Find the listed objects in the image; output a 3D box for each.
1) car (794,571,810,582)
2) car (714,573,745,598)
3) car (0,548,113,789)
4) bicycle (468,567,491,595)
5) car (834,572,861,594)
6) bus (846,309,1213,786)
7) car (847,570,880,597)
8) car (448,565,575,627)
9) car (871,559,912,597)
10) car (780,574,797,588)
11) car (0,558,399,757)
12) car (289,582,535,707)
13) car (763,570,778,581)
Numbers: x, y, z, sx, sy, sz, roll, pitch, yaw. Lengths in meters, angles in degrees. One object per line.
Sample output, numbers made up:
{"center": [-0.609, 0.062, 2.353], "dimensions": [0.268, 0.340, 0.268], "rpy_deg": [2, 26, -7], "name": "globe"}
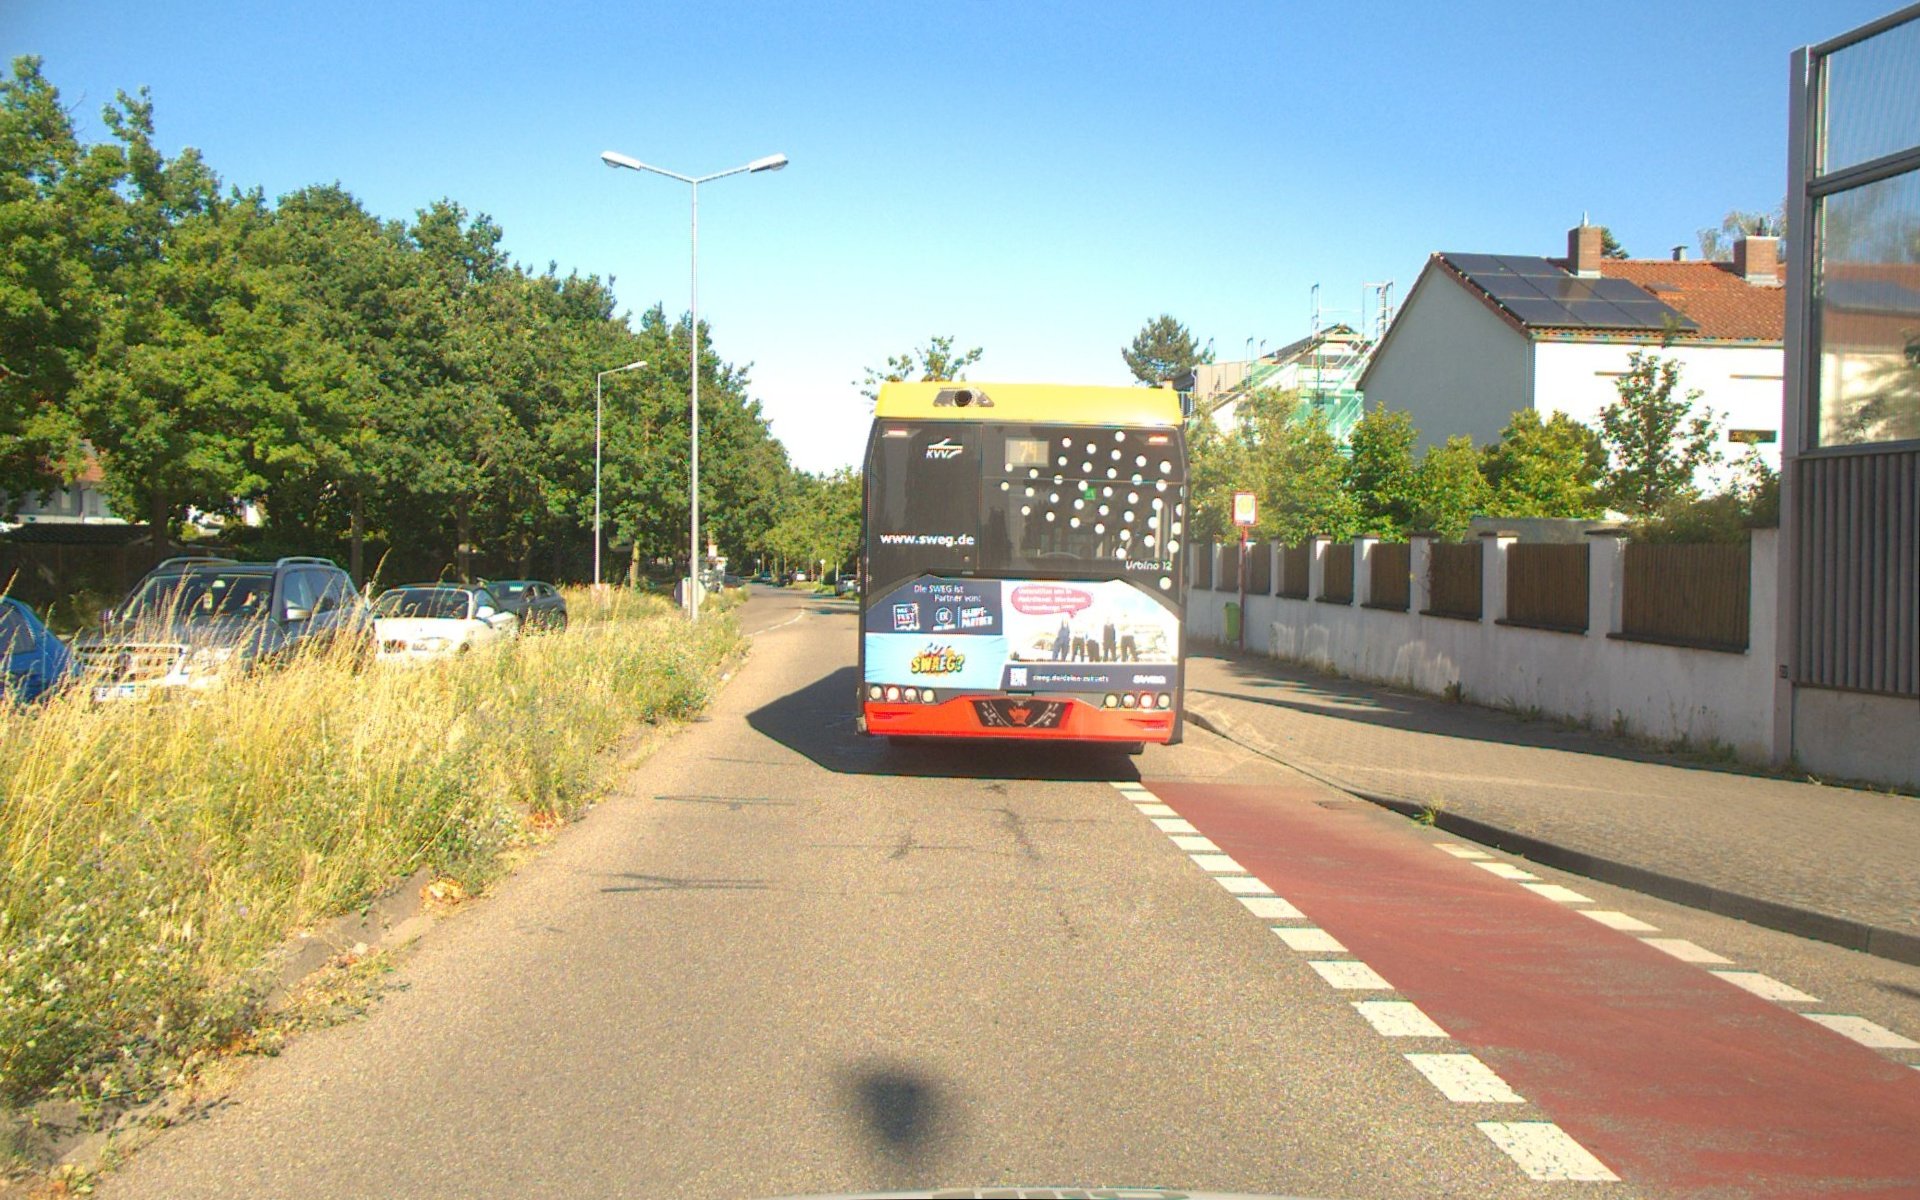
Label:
{"center": [-21.688, -3.199, 227.149], "dimensions": [1.897, 1.479, 3.993], "rpy_deg": [1, 1, -9], "name": "car"}
{"center": [-14.587, -0.924, 104.666], "dimensions": [1.900, 1.505, 3.992], "rpy_deg": [1, 1, -9], "name": "car"}
{"center": [-6.877, 0.442, 9.838], "dimensions": [1.711, 1.509, 3.887], "rpy_deg": [0, 1, -1], "name": "car"}
{"center": [-18.707, -0.736, 64.390], "dimensions": [0.495, 1.072, 1.878], "rpy_deg": [1, 1, -4], "name": "bicycle"}
{"center": [-9.021, -1.369, 132.842], "dimensions": [1.897, 1.772, 3.994], "rpy_deg": [1, 1, -7], "name": "car"}
{"center": [0.485, -0.419, 18.434], "dimensions": [2.701, 3.518, 12.397], "rpy_deg": [0, 0, 0], "name": "bus"}
{"center": [-6.442, -1.117, 110.456], "dimensions": [1.899, 1.733, 3.994], "rpy_deg": [1, 1, -7], "name": "car"}
{"center": [-11.273, -0.128, 41.802], "dimensions": [1.673, 1.455, 4.003], "rpy_deg": [-1, 1, 7], "name": "car"}
{"center": [-3.769, -1.188, 90.239], "dimensions": [1.801, 2.005, 4.751], "rpy_deg": [1, 1, -7], "name": "car"}
{"center": [-20.827, -2.325, 200.830], "dimensions": [1.897, 1.569, 3.994], "rpy_deg": [1, 1, -7], "name": "car"}
{"center": [-7.111, 0.423, 15.952], "dimensions": [1.953, 1.644, 4.529], "rpy_deg": [0, 1, -2], "name": "car"}
{"center": [-7.261, 0.520, 22.418], "dimensions": [1.953, 1.476, 4.398], "rpy_deg": [0, 1, -2], "name": "car"}
{"center": [-25.820, -3.350, 225.808], "dimensions": [1.897, 1.479, 3.993], "rpy_deg": [1, 1, -9], "name": "car"}
